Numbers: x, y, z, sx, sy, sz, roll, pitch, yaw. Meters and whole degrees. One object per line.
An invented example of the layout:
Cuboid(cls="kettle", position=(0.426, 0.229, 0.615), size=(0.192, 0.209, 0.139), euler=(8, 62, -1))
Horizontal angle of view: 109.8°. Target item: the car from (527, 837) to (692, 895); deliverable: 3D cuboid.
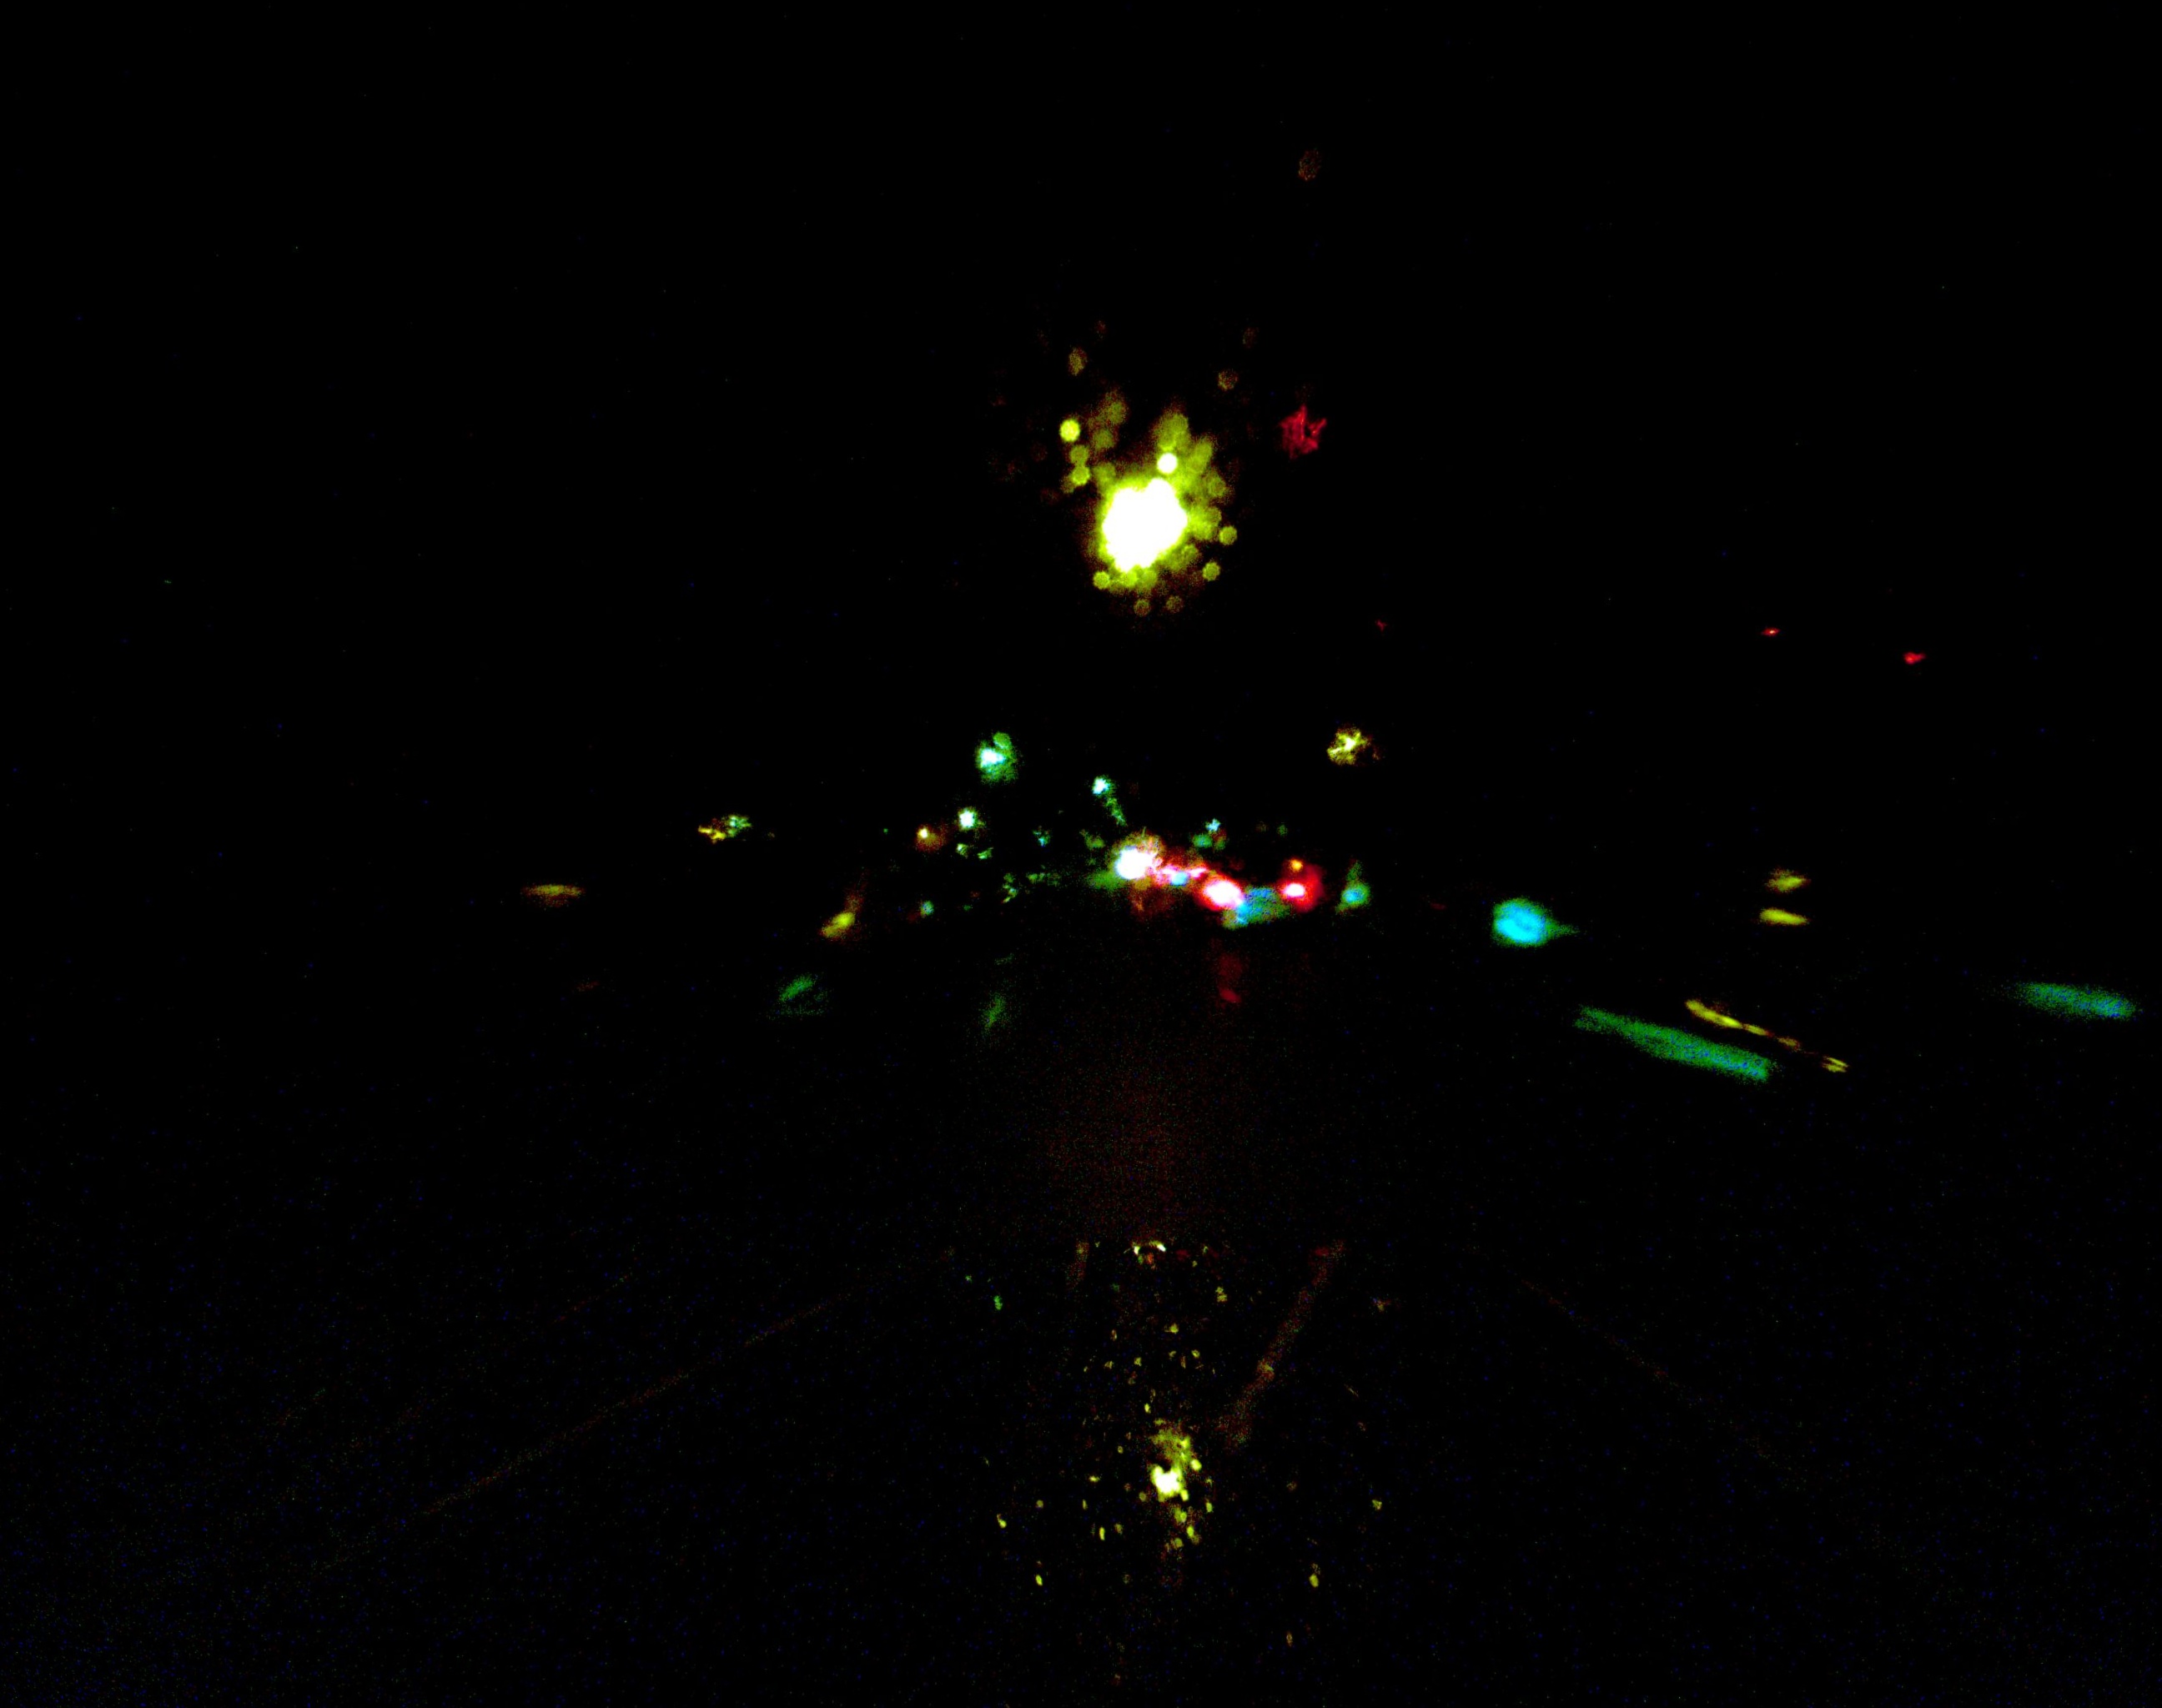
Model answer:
Cuboid(cls="car", position=(-14.380, 0.347, 23.299), size=(4.090, 1.697, 1.666), euler=(0, 0, 4))

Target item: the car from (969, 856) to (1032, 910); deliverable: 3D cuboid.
Cuboid(cls="car", position=(-2.510, 0.856, 24.403), size=(1.740, 1.581, 3.616), euler=(0, 0, -2))

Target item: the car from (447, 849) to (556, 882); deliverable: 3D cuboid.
Cuboid(cls="car", position=(-26.135, 0.499, 34.329), size=(3.663, 1.448, 1.666), euler=(0, 0, 1))

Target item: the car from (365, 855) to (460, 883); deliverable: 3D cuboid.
Cuboid(cls="car", position=(-36.100, 0.801, 41.076), size=(3.662, 1.448, 1.666), euler=(0, 0, 2))

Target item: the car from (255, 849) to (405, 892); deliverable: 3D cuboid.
Cuboid(cls="car", position=(-26.537, 0.573, 26.926), size=(3.663, 1.448, 1.666), euler=(0, 0, 1))

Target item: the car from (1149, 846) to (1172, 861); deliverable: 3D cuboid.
Cuboid(cls="car", position=(7.643, -0.056, 73.300), size=(1.849, 1.440, 4.549), euler=(0, 0, 2))

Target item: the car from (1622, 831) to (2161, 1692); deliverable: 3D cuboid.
Cuboid(cls="car", position=(2.915, 0.725, 0.408), size=(2.044, 1.539, 4.683), euler=(0, 0, 2))

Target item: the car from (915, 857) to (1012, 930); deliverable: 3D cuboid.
Cuboid(cls="car", position=(-2.763, 0.871, 18.683), size=(1.896, 1.581, 3.834), euler=(0, 0, -2))

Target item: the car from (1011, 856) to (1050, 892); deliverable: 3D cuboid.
Cuboid(cls="car", position=(-2.319, 0.892, 35.495), size=(1.695, 1.581, 3.765), euler=(0, 0, -2))

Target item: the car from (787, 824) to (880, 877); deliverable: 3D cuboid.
Cuboid(cls="car", position=(-12.430, -0.169, 38.274), size=(4.022, 2.603, 1.802), euler=(0, 0, 7))

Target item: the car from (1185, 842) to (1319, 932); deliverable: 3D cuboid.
Cuboid(cls="car", position=(3.321, 0.584, 15.634), size=(1.890, 1.588, 4.549), euler=(0, 0, 2))

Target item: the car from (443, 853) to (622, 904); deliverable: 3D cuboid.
Cuboid(cls="car", position=(-14.848, 0.638, 20.696), size=(3.663, 1.333, 1.666), euler=(0, 0, 1))

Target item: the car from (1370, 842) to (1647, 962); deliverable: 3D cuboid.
Cuboid(cls="car", position=(6.122, 0.589, 11.618), size=(1.628, 1.464, 4.548), euler=(0, 0, -1))

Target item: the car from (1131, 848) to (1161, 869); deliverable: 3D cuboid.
Cuboid(cls="car", position=(4.523, 0.287, 53.282), size=(1.849, 1.440, 4.549), euler=(0, 0, 2))

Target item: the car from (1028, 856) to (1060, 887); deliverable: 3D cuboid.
Cuboid(cls="car", position=(-1.986, 0.897, 41.171), size=(1.649, 1.581, 3.445), euler=(0, 0, -2))

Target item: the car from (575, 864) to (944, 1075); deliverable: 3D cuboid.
Cuboid(cls="car", position=(-2.893, 0.914, 8.207), size=(1.799, 1.539, 4.785), euler=(0, 0, 2))

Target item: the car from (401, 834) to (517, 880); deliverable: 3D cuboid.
Cuboid(cls="car", position=(-35.700, 0.166, 43.707), size=(4.750, 2.574, 2.300), euler=(0, 0, 2))

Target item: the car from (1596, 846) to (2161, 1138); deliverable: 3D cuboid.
Cuboid(cls="car", position=(6.011, 0.689, 5.767), size=(1.627, 1.464, 3.963), euler=(0, 0, 2))

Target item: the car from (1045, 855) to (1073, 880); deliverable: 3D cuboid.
Cuboid(cls="car", position=(-1.403, 0.859, 49.427), size=(1.695, 1.581, 3.765), euler=(0, 0, -1))

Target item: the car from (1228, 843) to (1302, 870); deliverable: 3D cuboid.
Cuboid(cls="car", position=(11.798, 0.182, 48.772), size=(4.539, 1.696, 1.853), euler=(0, 0, 15))

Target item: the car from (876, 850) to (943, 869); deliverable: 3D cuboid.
Cuboid(cls="car", position=(-11.529, 0.381, 51.225), size=(4.022, 1.261, 1.802), euler=(0, 0, 7))

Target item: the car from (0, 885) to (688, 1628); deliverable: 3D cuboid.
Cuboid(cls="car", position=(-3.153, 0.926, 2.646), size=(1.608, 1.464, 3.951), euler=(0, 0, -2))

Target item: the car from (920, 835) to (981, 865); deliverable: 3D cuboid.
Cuboid(cls="car", position=(-9.575, -0.277, 55.970), size=(4.022, 2.156, 1.802), euler=(0, 0, 7))

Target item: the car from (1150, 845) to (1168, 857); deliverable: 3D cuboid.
Cuboid(cls="car", position=(9.616, -0.358, 93.753), size=(1.849, 1.440, 4.549), euler=(0, 0, 2))

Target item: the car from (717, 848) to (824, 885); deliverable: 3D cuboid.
Cuboid(cls="car", position=(-12.545, 0.499, 30.842), size=(3.663, 1.448, 1.666), euler=(0, 0, 1))

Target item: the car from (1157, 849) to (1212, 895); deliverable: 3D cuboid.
Cuboid(cls="car", position=(4.322, 0.716, 32.325), size=(1.849, 1.815, 4.549), euler=(0, 0, 2))

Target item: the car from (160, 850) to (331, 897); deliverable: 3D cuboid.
Cuboid(cls="car", position=(-26.737, 0.607, 24.392), size=(3.663, 1.448, 1.666), euler=(0, 0, 1))
